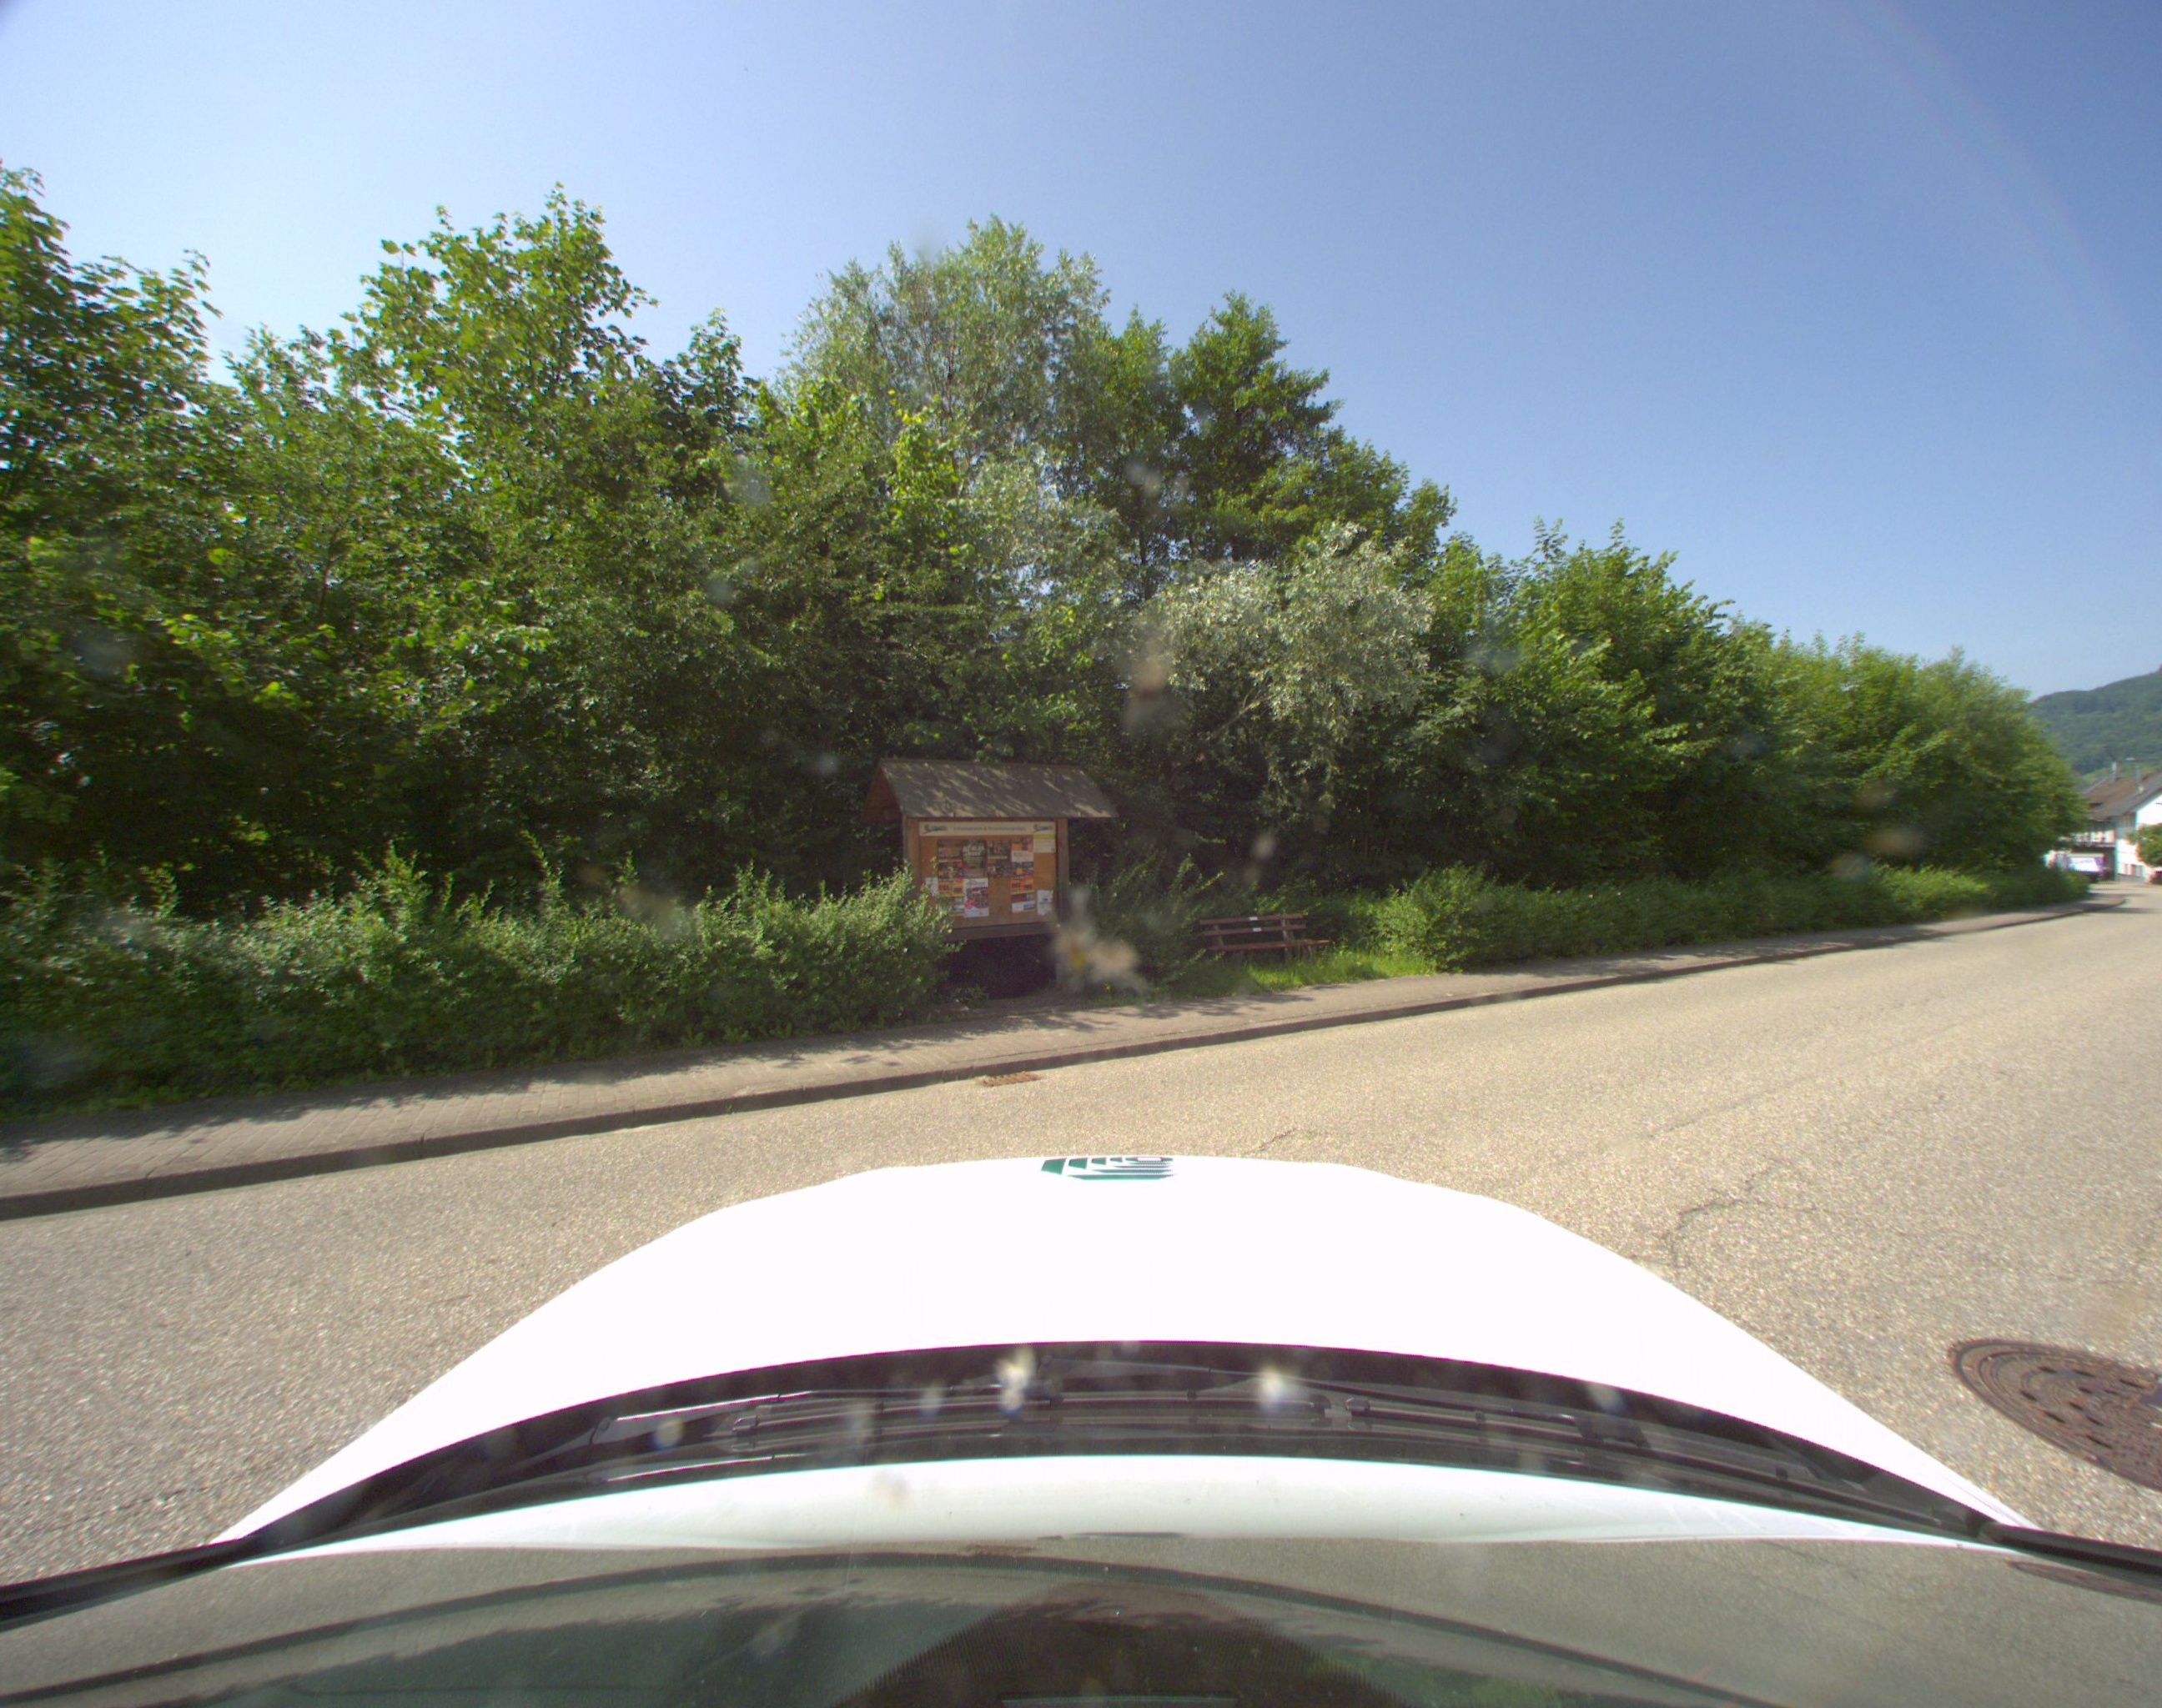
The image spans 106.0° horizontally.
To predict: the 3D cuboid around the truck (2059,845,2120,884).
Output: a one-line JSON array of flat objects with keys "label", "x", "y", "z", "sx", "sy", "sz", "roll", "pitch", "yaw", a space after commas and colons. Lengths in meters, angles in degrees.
[{"label": "truck", "x": 113.145, "y": 1.292, "z": 91.502, "sx": 8.485, "sy": 3.784, "sz": 3.332, "roll": 4, "pitch": -7, "yaw": -43}]
